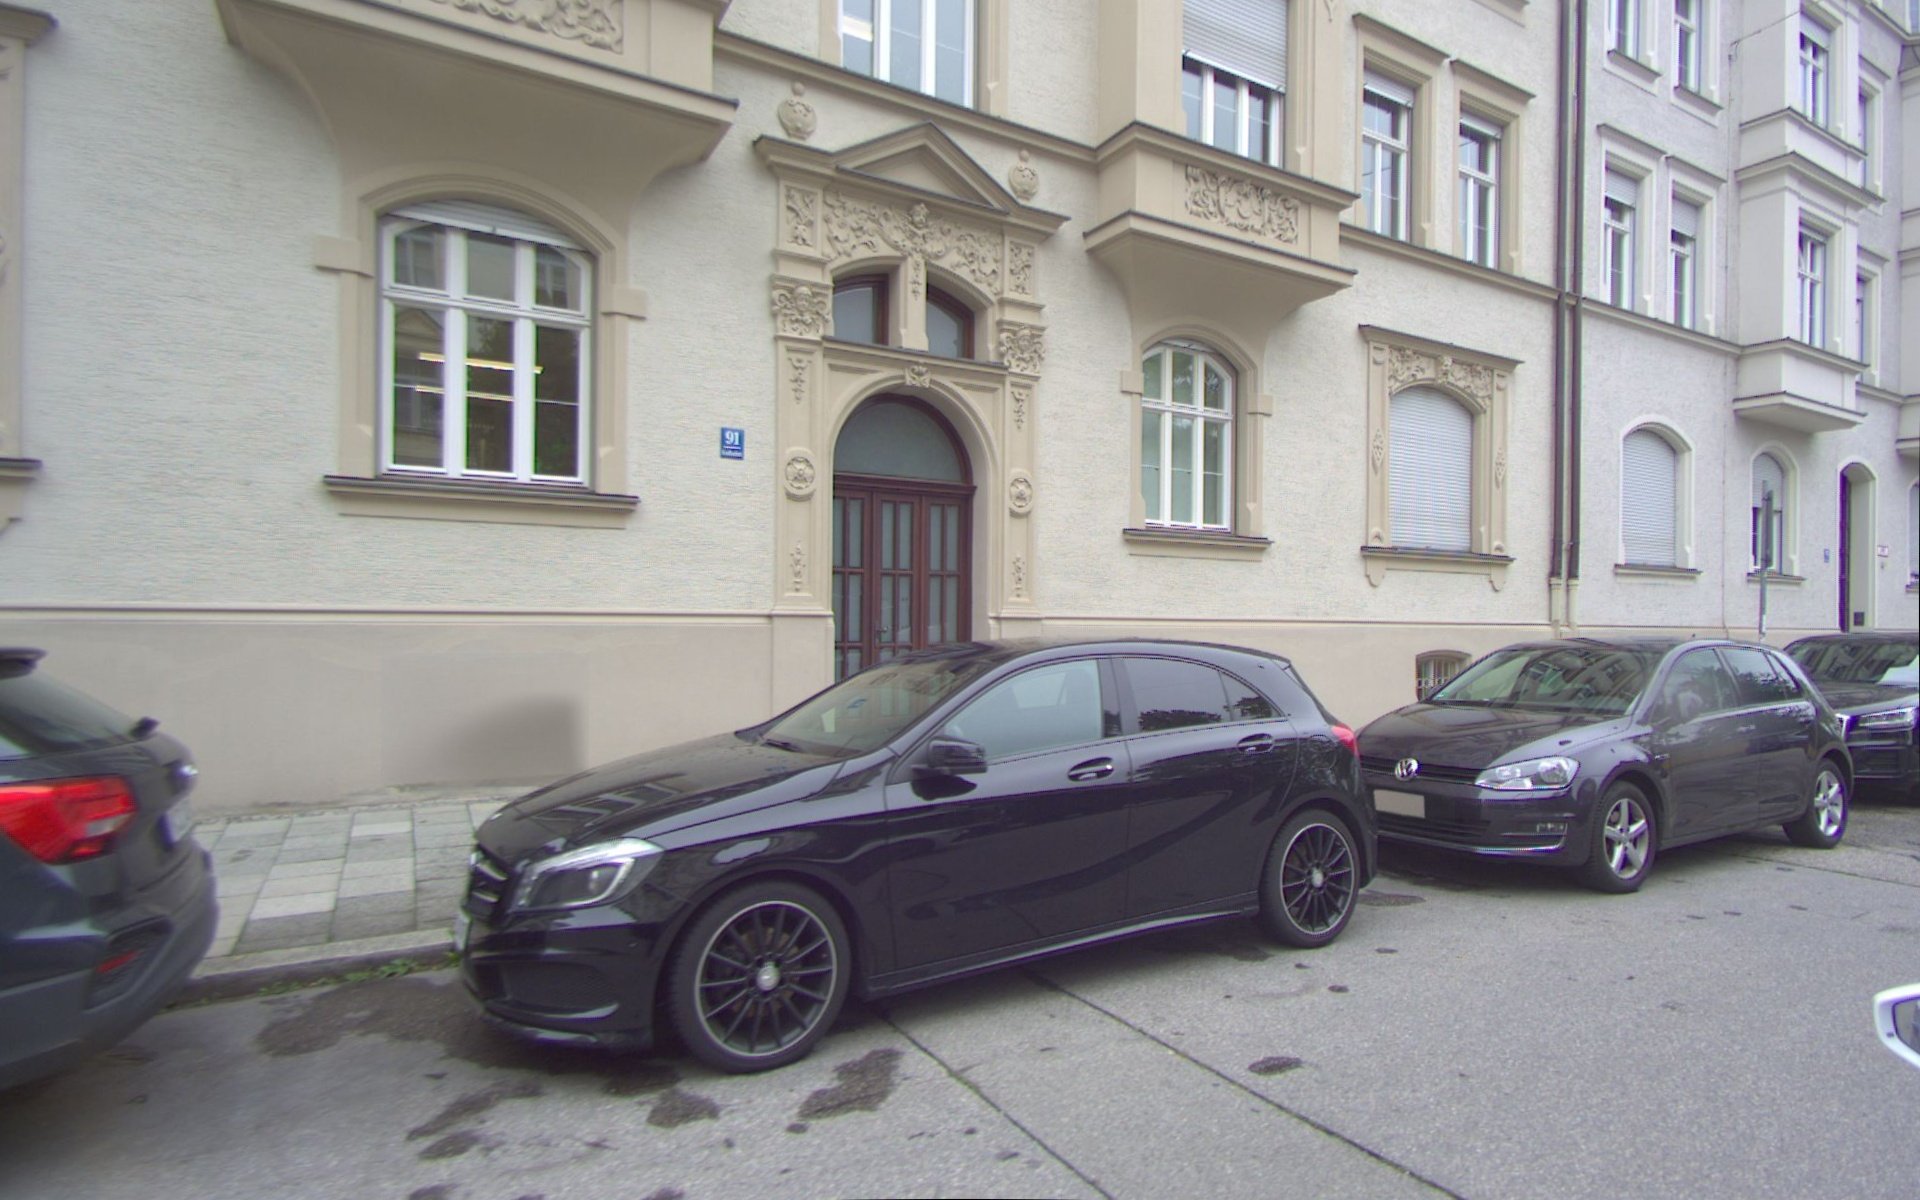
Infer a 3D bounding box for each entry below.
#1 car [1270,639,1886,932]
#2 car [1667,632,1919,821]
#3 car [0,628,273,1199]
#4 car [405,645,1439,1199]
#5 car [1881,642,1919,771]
[{"bbox_3d":[4.372,1.044,7.004,4.193,1.454,1.829,1,-3,-29],"label":"car"},{"bbox_3d":[8.978,1.081,9.890,3.970,1.519,1.746,1,-3,-29],"label":"car"},{"bbox_3d":[-4.279,0.876,2.314,4.336,1.538,1.761,1,-4,-32],"label":"car"},{"bbox_3d":[0.015,0.967,4.672,4.501,1.453,1.824,1,-2,-31],"label":"car"},{"bbox_3d":[13.341,1.255,12.444,3.923,1.519,1.634,1,-3,-29],"label":"car"}]
